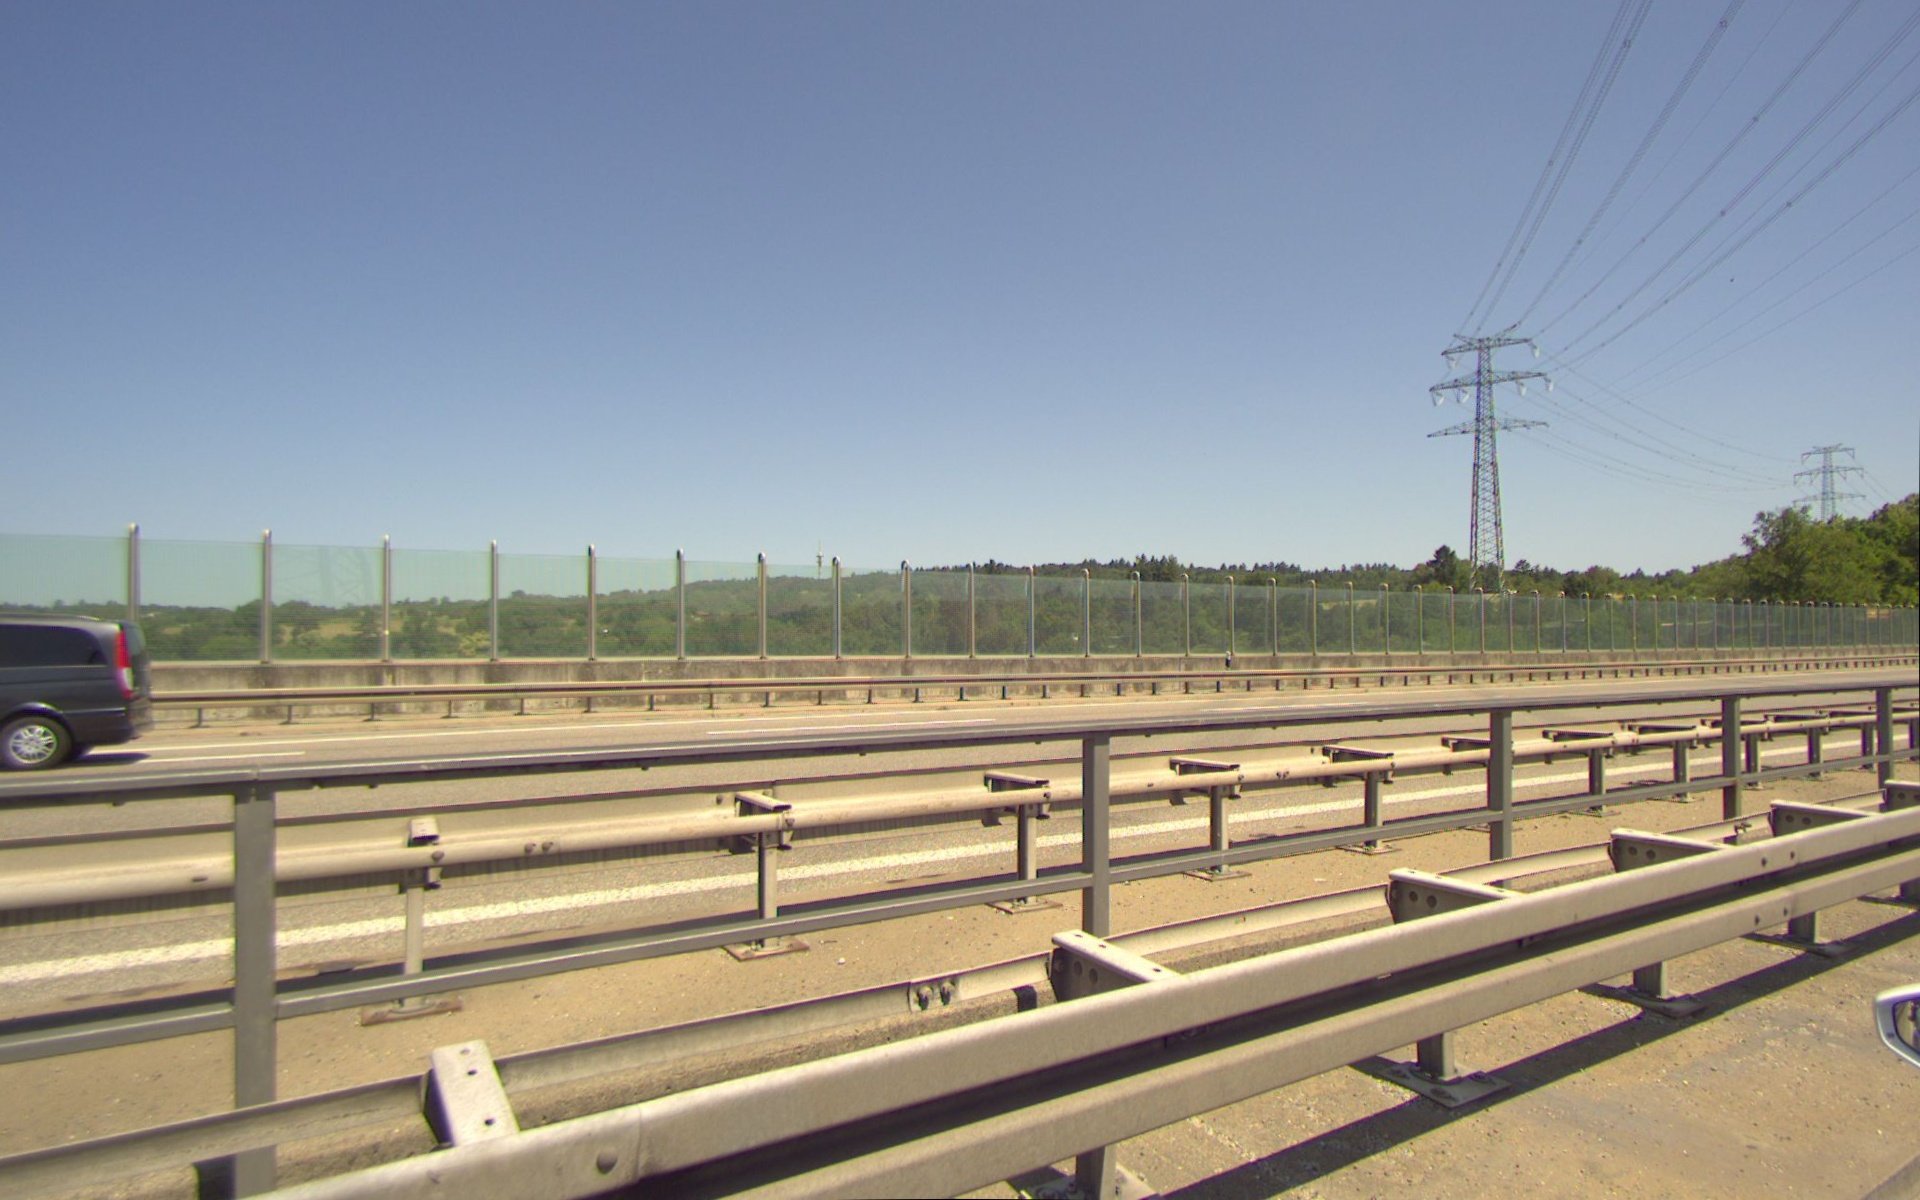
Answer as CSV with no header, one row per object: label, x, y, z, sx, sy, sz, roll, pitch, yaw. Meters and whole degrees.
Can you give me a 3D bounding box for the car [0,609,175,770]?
car,-12.925,1.091,12.349,4.896,1.930,1.947,2,-3,-32
